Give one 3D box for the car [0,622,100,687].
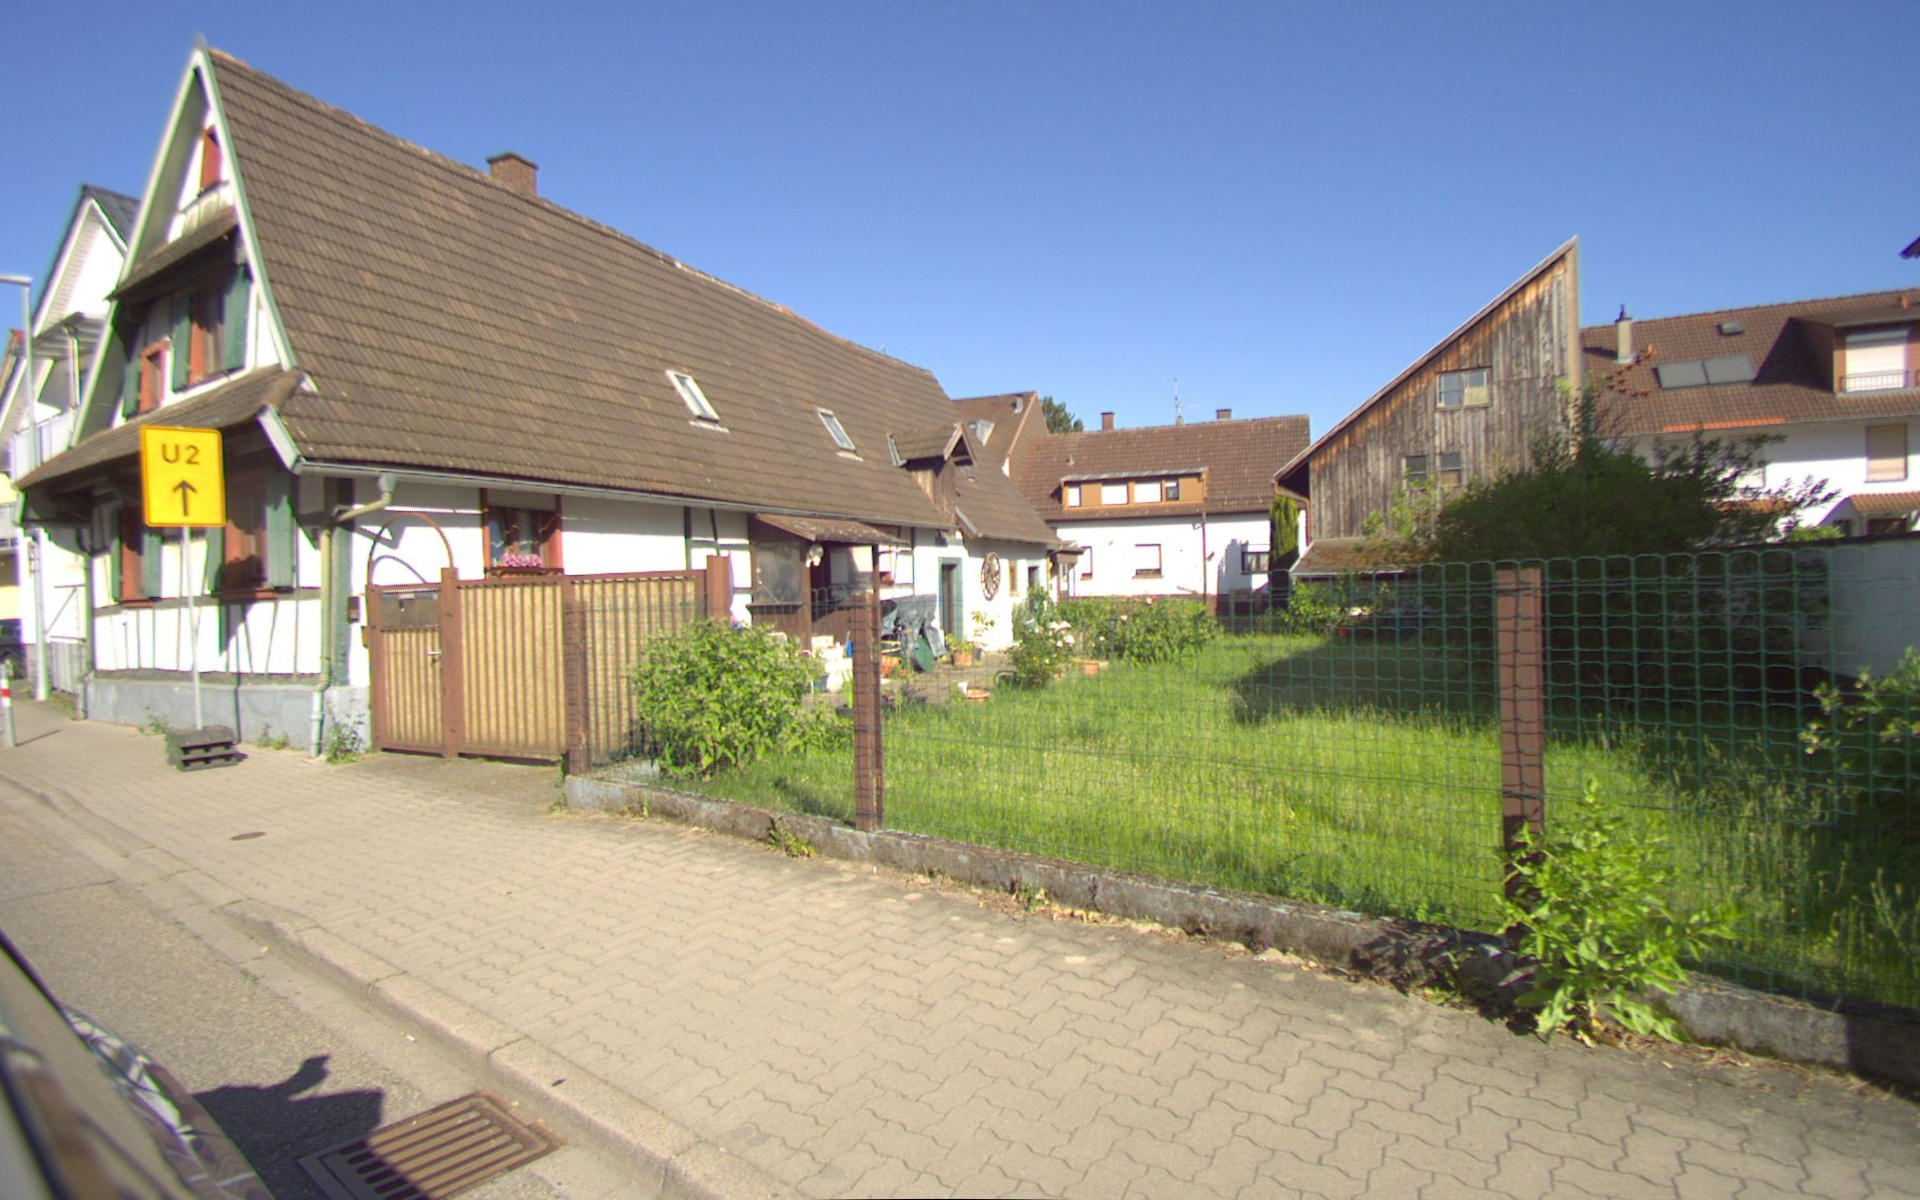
[{"bbox_3d":[-23.907,1.368,25.521,4.150,1.456,1.681,-2,1,24],"label":"car"}]
